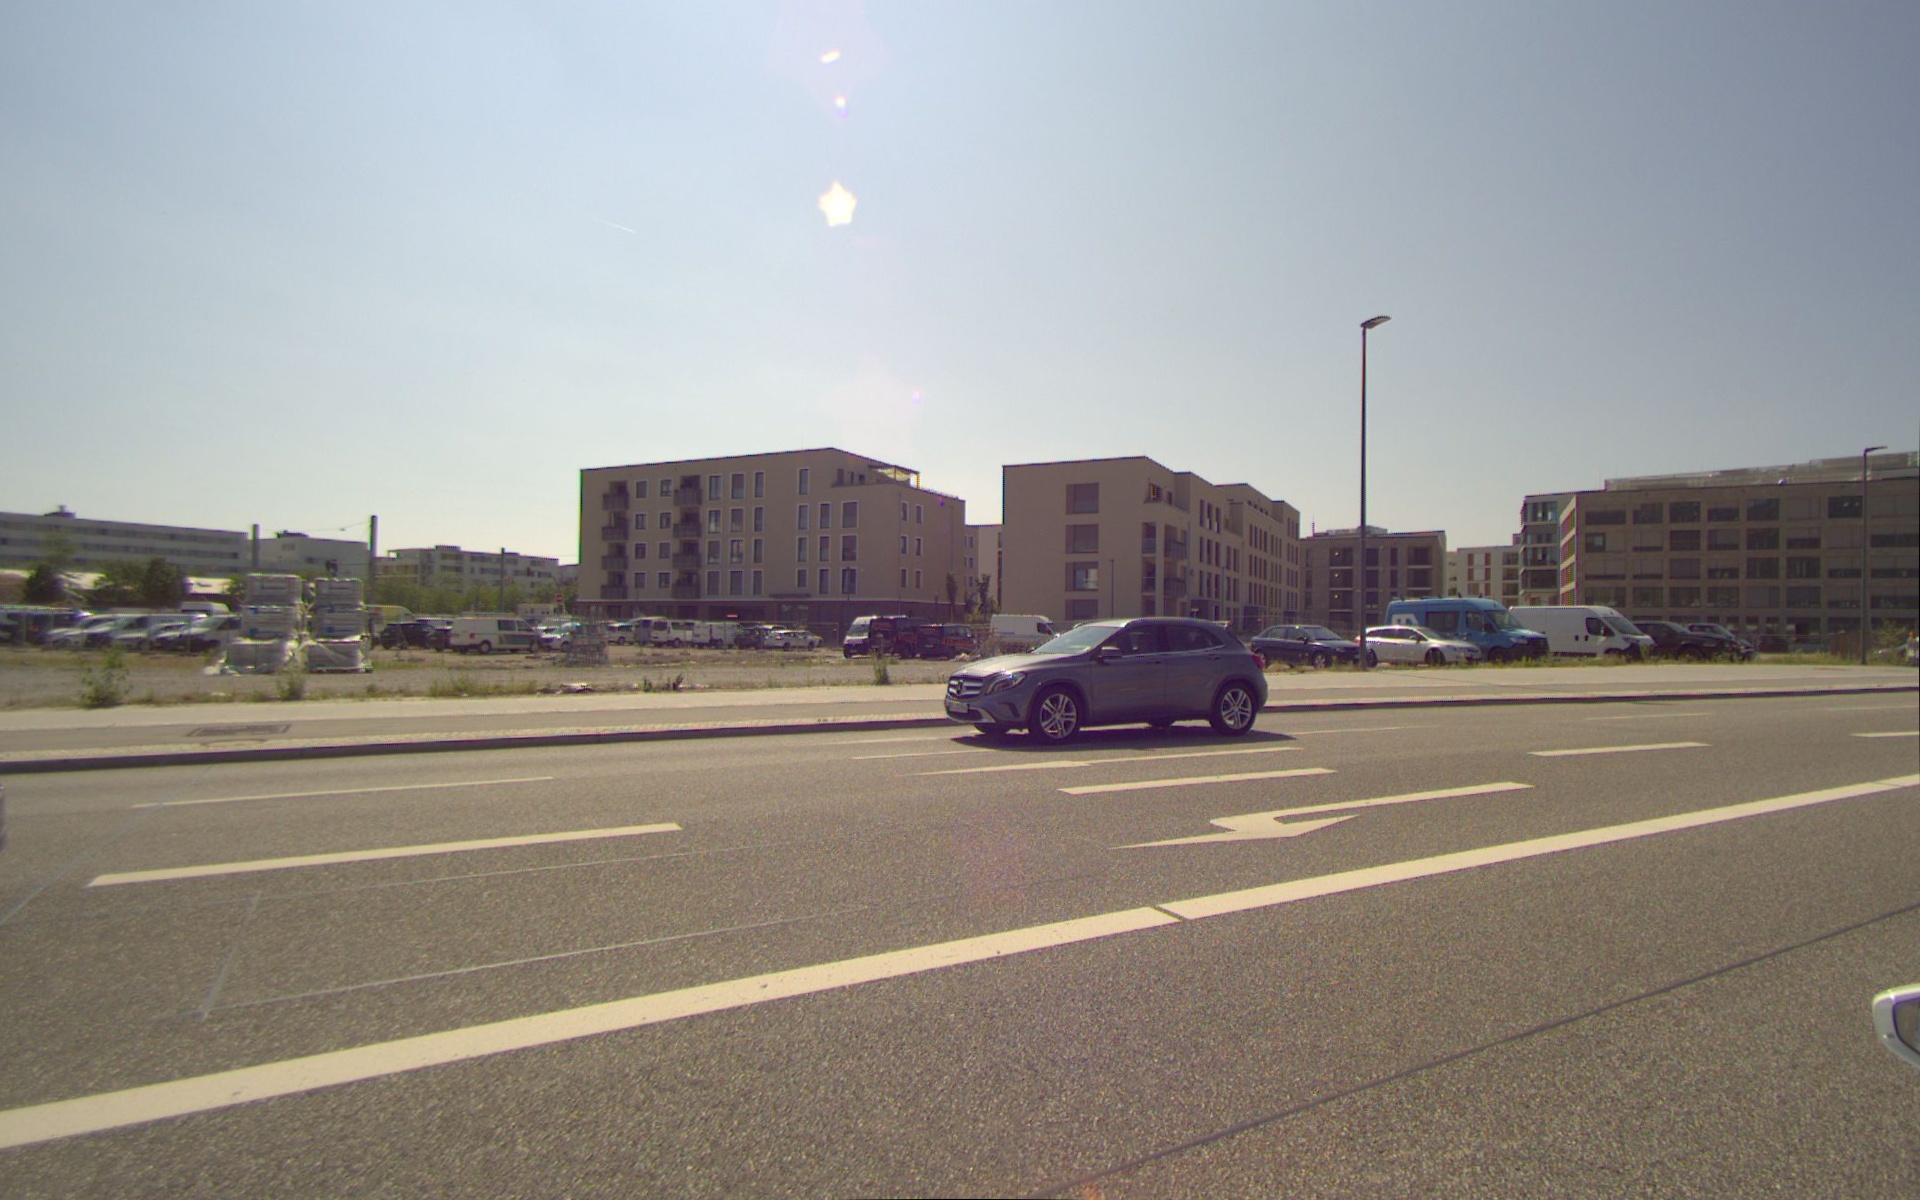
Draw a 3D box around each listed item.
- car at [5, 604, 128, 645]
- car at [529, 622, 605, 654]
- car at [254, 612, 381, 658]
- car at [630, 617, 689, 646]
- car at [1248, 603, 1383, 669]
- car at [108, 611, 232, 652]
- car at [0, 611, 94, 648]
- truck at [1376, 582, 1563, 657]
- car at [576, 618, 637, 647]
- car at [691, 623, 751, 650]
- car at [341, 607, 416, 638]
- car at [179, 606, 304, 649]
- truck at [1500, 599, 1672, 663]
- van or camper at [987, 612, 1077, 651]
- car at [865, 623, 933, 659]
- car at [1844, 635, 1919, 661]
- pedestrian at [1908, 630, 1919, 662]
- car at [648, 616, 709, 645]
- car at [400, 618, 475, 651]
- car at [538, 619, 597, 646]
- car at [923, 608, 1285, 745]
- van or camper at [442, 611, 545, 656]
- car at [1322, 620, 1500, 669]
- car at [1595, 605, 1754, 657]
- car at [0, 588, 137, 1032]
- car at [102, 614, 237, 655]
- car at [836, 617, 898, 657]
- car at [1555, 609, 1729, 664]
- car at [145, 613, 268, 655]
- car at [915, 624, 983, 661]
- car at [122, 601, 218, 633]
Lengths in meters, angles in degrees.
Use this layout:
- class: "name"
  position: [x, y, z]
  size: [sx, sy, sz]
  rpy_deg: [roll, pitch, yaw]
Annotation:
- class: "car"
  position: [-48.723, 1.289, 54.889]
  size: [1.963, 1.996, 4.647]
  rpy_deg: [4, 2, 27]
- class: "car"
  position: [-23.776, 2.288, 60.900]
  size: [1.964, 1.906, 3.994]
  rpy_deg: [0, -2, 29]
- class: "car"
  position: [-30.047, 1.636, 47.104]
  size: [1.963, 2.040, 4.648]
  rpy_deg: [0, -2, 27]
- class: "car"
  position: [-22.516, 2.316, 75.321]
  size: [1.965, 2.040, 3.991]
  rpy_deg: [1, 0, 31]
- class: "car"
  position: [11.026, 1.114, 31.434]
  size: [1.801, 1.929, 3.979]
  rpy_deg: [1, -2, -22]
- class: "car"
  position: [-40.820, 1.622, 52.040]
  size: [1.963, 1.996, 4.648]
  rpy_deg: [0, -2, 27]
- class: "car"
  position: [-53.514, 1.675, 58.203]
  size: [1.963, 1.996, 4.647]
  rpy_deg: [1, 0, 28]
- class: "truck"
  position: [18.877, 0.756, 37.601]
  size: [2.250, 2.577, 5.972]
  rpy_deg: [1, -2, -32]
- class: "car"
  position: [-26.546, 2.396, 75.593]
  size: [1.965, 2.040, 3.991]
  rpy_deg: [1, 0, 31]
- class: "car"
  position: [-17.227, 2.592, 72.453]
  size: [1.965, 1.811, 3.991]
  rpy_deg: [1, 0, 31]
- class: "car"
  position: [-39.509, 1.533, 68.296]
  size: [1.963, 2.040, 3.996]
  rpy_deg: [0, -2, 26]
- class: "car"
  position: [-35.429, 1.377, 49.669]
  size: [1.963, 1.996, 4.648]
  rpy_deg: [0, -2, 27]
- class: "truck"
  position: [25.239, 1.243, 40.773]
  size: [2.249, 2.394, 5.539]
  rpy_deg: [1, -2, -31]
- class: "van or camper"
  position: [4.908, 2.154, 68.725]
  size: [5.813, 2.592, 1.936]
  rpy_deg: [0, -2, 21]
- class: "car"
  position: [-3.420, 2.293, 57.043]
  size: [1.965, 1.873, 3.991]
  rpy_deg: [1, 0, 31]
- class: "car"
  position: [48.732, 2.473, 51.928]
  size: [4.167, 1.335, 1.998]
  rpy_deg: [0, -2, 25]
- class: "pedestrian"
  position: [50.593, 2.433, 52.903]
  size: [0.746, 1.706, 0.683]
  rpy_deg: [3, 0, -26]
- class: "car"
  position: [-20.422, 2.184, 72.893]
  size: [1.965, 2.040, 3.991]
  rpy_deg: [1, 0, 31]
- class: "car"
  position: [-34.209, 2.251, 65.882]
  size: [1.963, 2.040, 3.996]
  rpy_deg: [0, -2, 26]
- class: "car"
  position: [-30.925, 2.539, 79.224]
  size: [1.965, 2.040, 3.991]
  rpy_deg: [1, 0, 31]
- class: "car"
  position: [1.866, 0.907, 12.936]
  size: [4.328, 1.515, 1.897]
  rpy_deg: [1, -2, -26]
- class: "van or camper"
  position: [-25.749, 1.799, 55.600]
  size: [1.963, 2.314, 4.929]
  rpy_deg: [3, 1, 28]
- class: "car"
  position: [15.968, 1.521, 35.897]
  size: [2.083, 1.494, 5.620]
  rpy_deg: [1, 0, -32]
- class: "car"
  position: [32.271, 1.404, 45.554]
  size: [2.370, 2.202, 5.412]
  rpy_deg: [1, -2, -33]
- class: "car"
  position: [-5.393, 0.627, 2.784]
  size: [4.516, 1.417, 1.779]
  rpy_deg: [1, 0, -29]
- class: "car"
  position: [-42.507, 1.798, 54.160]
  size: [1.963, 1.996, 5.389]
  rpy_deg: [2, 1, 27]
- class: "car"
  position: [-5.601, 2.189, 60.808]
  size: [1.962, 2.270, 3.997]
  rpy_deg: [1, 0, 25]
- class: "car"
  position: [29.445, 1.541, 43.609]
  size: [2.369, 2.194, 5.850]
  rpy_deg: [1, -1, -32]
- class: "car"
  position: [-38.407, 1.727, 51.321]
  size: [1.963, 1.996, 4.648]
  rpy_deg: [0, -2, 27]
- class: "car"
  position: [-0.557, 2.292, 55.441]
  size: [1.965, 1.873, 3.991]
  rpy_deg: [1, 0, 31]
- class: "car"
  position: [-50.787, 1.102, 64.666]
  size: [1.805, 1.996, 4.476]
  rpy_deg: [0, -2, 27]
